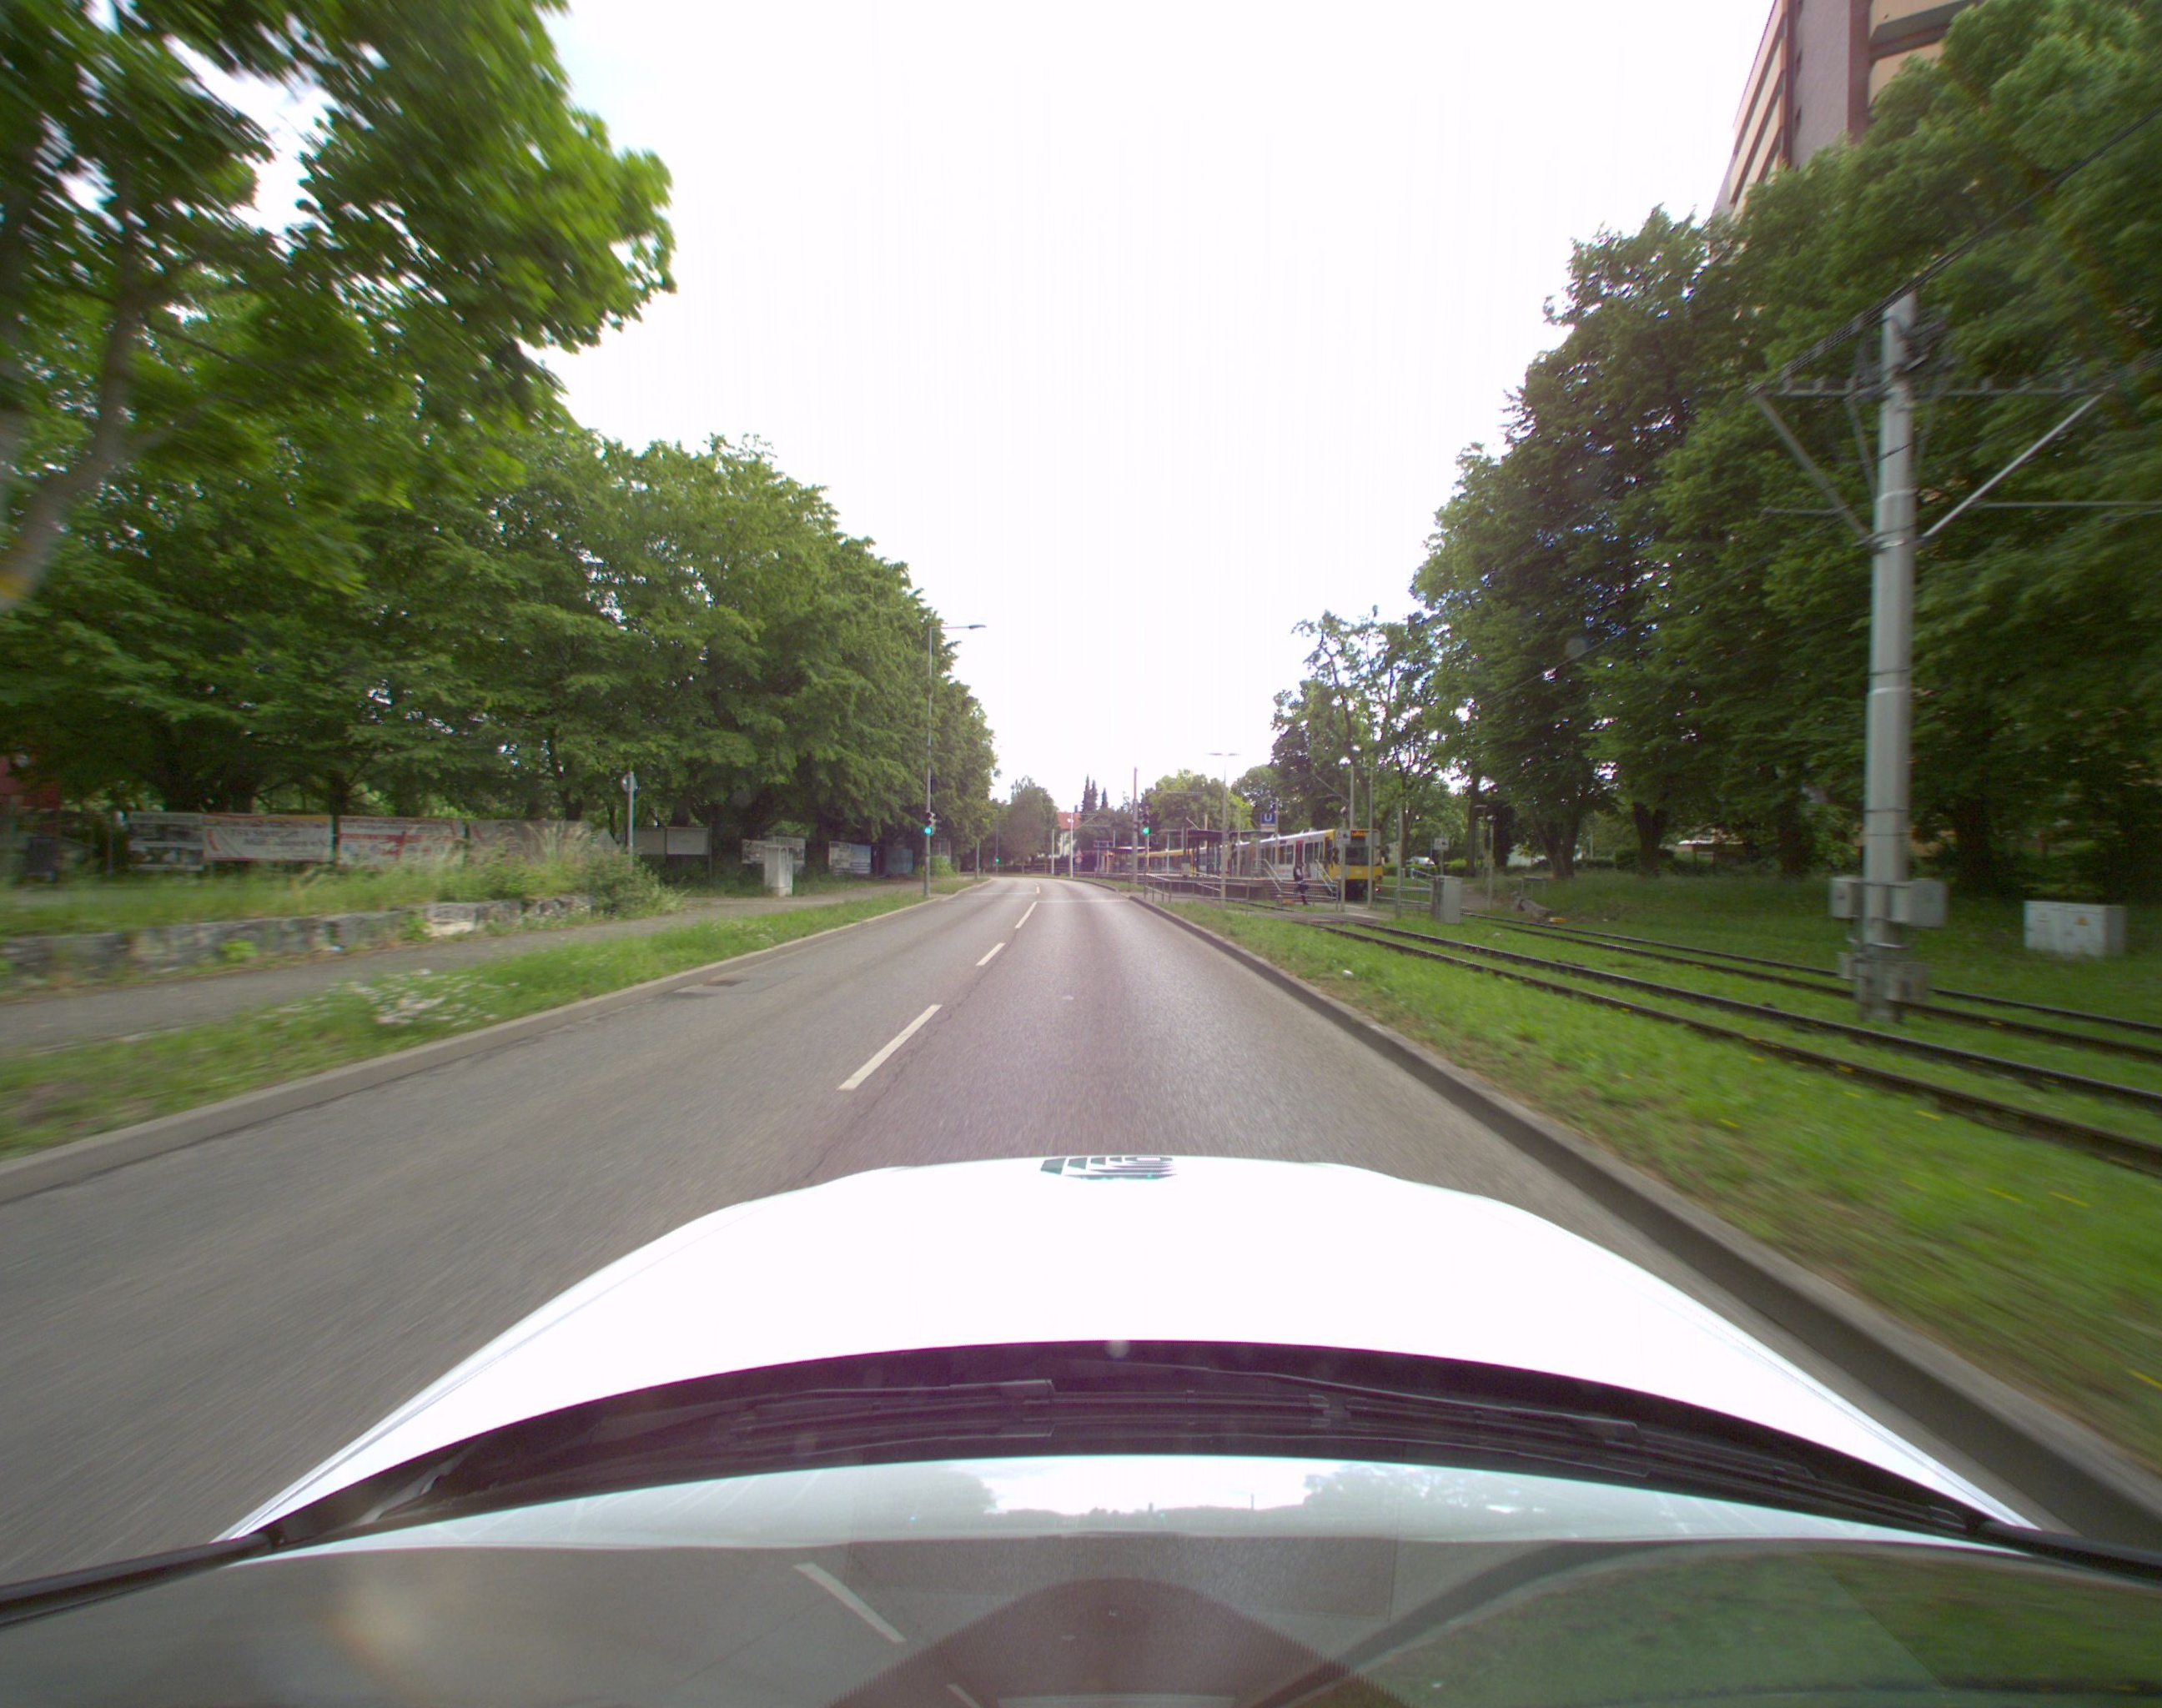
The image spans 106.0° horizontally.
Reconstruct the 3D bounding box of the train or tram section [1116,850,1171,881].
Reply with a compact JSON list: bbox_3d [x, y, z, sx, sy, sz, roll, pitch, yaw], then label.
[{"bbox_3d":[7.681,1.463,104.895,2.812,3.589,19.454,2,-1,-8],"label":"train or tram section"}]

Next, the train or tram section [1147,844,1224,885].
[{"bbox_3d":[10.531,1.177,85.522,2.812,3.737,19.454,2,-1,-8],"label":"train or tram section"}]

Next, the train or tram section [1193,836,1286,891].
[{"bbox_3d":[12.483,0.850,66.908,2.807,3.799,18.907,1,-1,-3],"label":"train or tram section"}]

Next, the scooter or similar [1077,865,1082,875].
[{"bbox_3d":[-0.222,2.233,113.241,0.431,1.253,1.247,0,-3,-17],"label":"scooter or similar"}]

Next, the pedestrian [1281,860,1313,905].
[{"bbox_3d":[8.699,1.142,32.815,0.984,1.758,0.727,1,0,-11],"label":"pedestrian"}]

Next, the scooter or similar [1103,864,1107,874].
[{"bbox_3d":[3.026,1.899,103.687,0.368,1.242,1.142,0,-1,-9],"label":"scooter or similar"}]

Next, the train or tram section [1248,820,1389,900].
[{"bbox_3d":[13.222,0.472,48.095,2.805,3.737,18.524,1,-1,0],"label":"train or tram section"}]
